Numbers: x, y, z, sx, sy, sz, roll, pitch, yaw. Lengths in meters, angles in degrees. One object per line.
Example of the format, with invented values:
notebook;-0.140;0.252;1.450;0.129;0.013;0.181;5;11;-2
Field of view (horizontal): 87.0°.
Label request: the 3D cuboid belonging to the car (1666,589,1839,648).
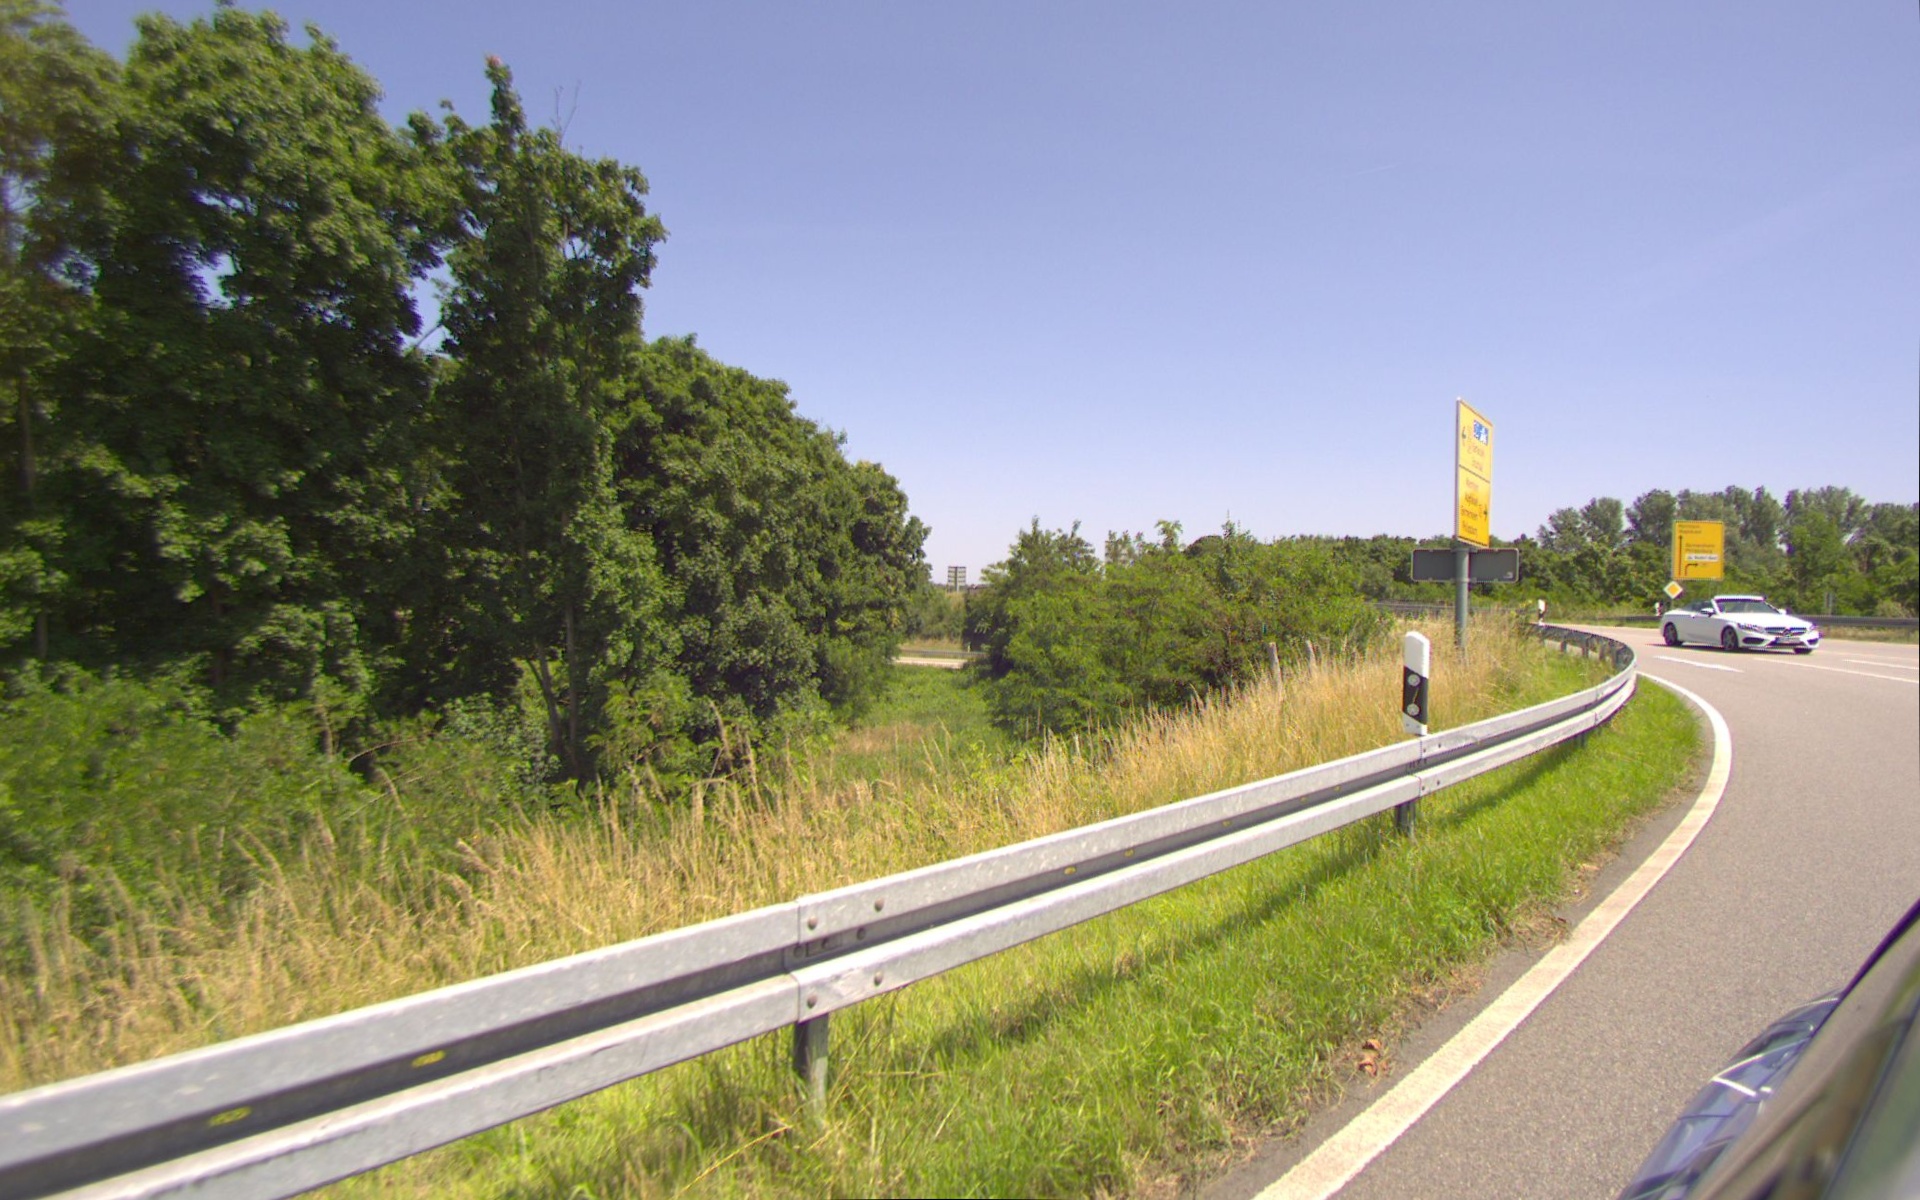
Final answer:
car;20.563;0.437;26.489;1.785;1.433;4.099;0;0;10
